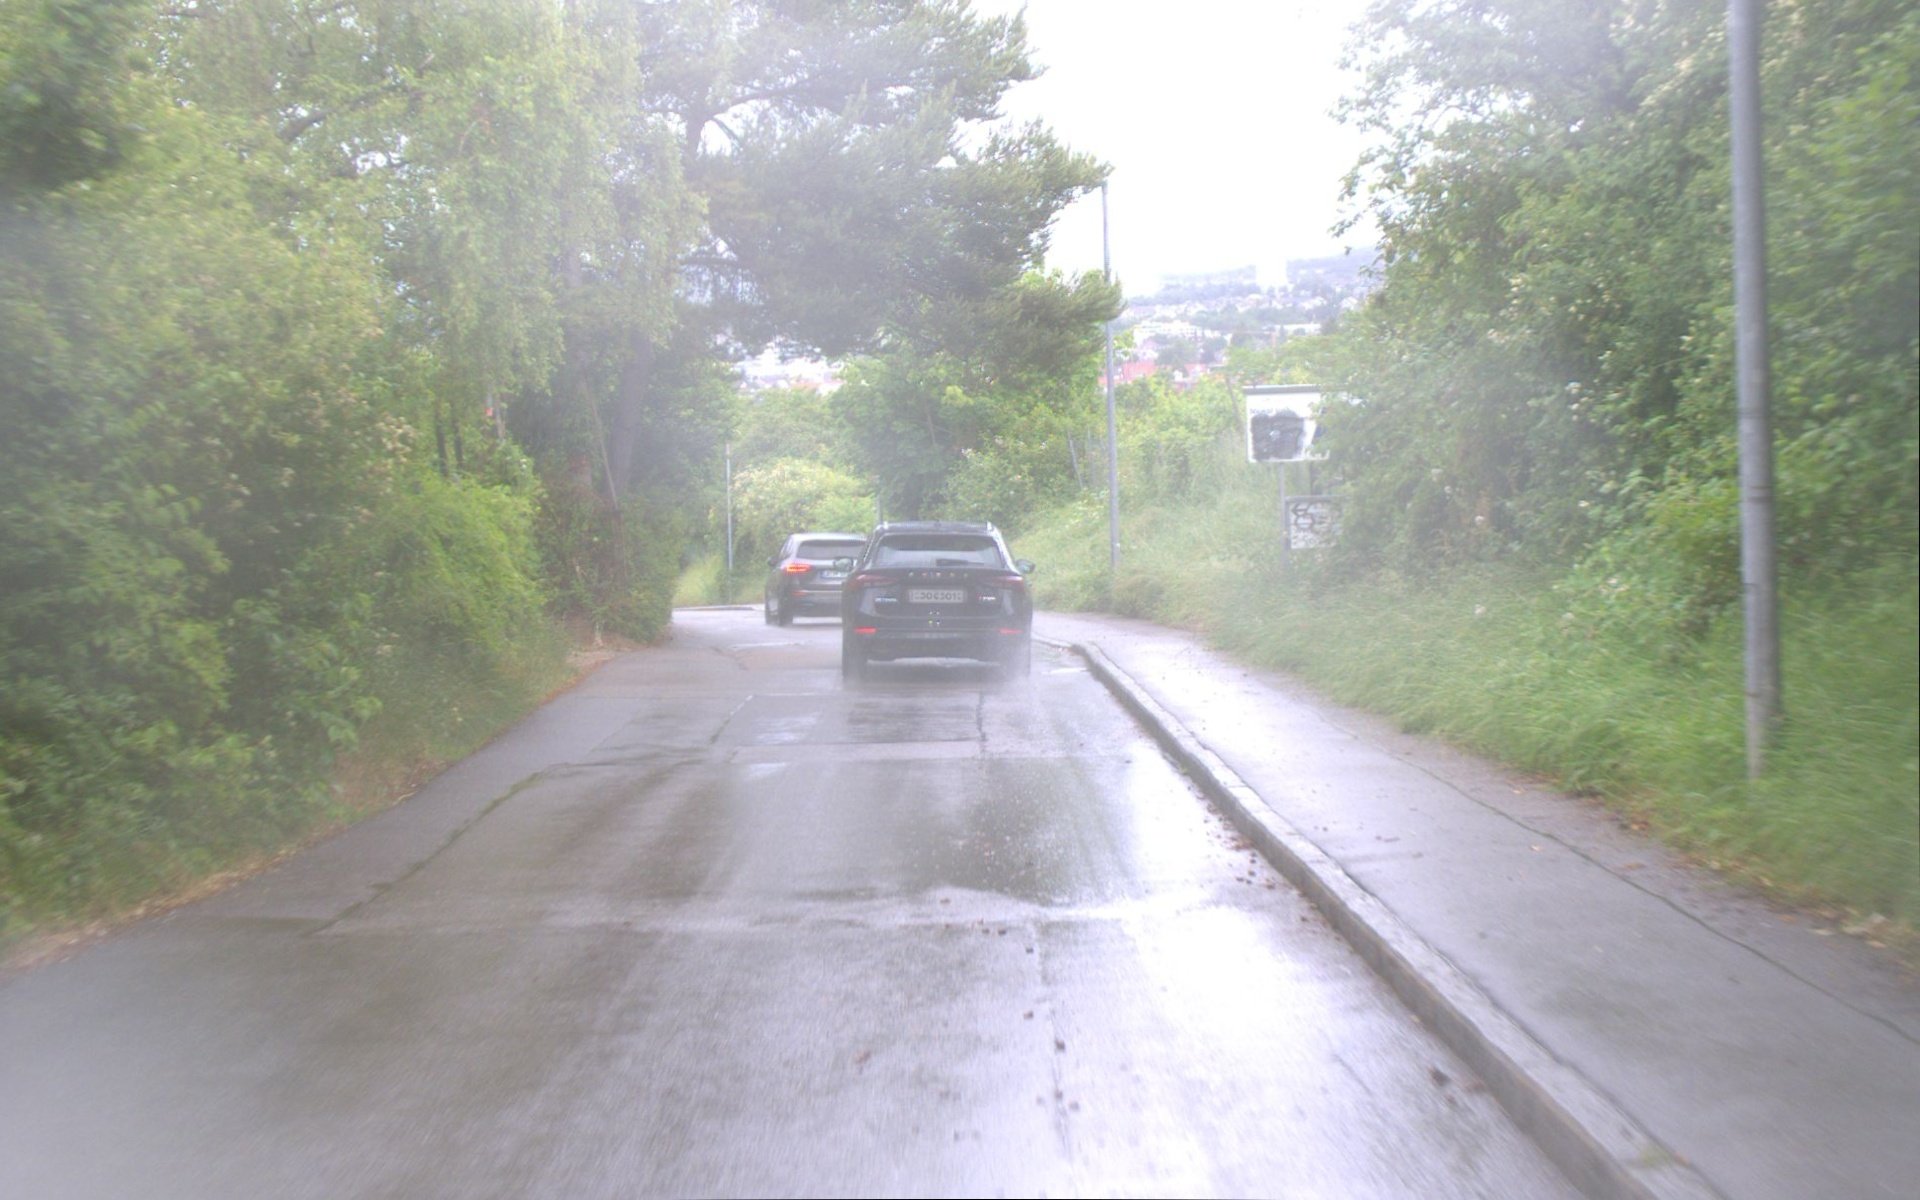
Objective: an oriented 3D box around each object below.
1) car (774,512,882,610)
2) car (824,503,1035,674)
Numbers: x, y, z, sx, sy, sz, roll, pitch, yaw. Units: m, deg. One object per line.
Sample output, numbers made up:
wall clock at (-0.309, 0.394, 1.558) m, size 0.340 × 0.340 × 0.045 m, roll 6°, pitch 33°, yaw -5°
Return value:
car at (-2.231, -0.677, 57.431) m, size 1.678 × 1.560 × 3.795 m, roll -1°, pitch 2°, yaw -4°
car at (-0.317, -0.141, 32.722) m, size 1.835 × 1.459 × 4.000 m, roll -2°, pitch 1°, yaw -1°
